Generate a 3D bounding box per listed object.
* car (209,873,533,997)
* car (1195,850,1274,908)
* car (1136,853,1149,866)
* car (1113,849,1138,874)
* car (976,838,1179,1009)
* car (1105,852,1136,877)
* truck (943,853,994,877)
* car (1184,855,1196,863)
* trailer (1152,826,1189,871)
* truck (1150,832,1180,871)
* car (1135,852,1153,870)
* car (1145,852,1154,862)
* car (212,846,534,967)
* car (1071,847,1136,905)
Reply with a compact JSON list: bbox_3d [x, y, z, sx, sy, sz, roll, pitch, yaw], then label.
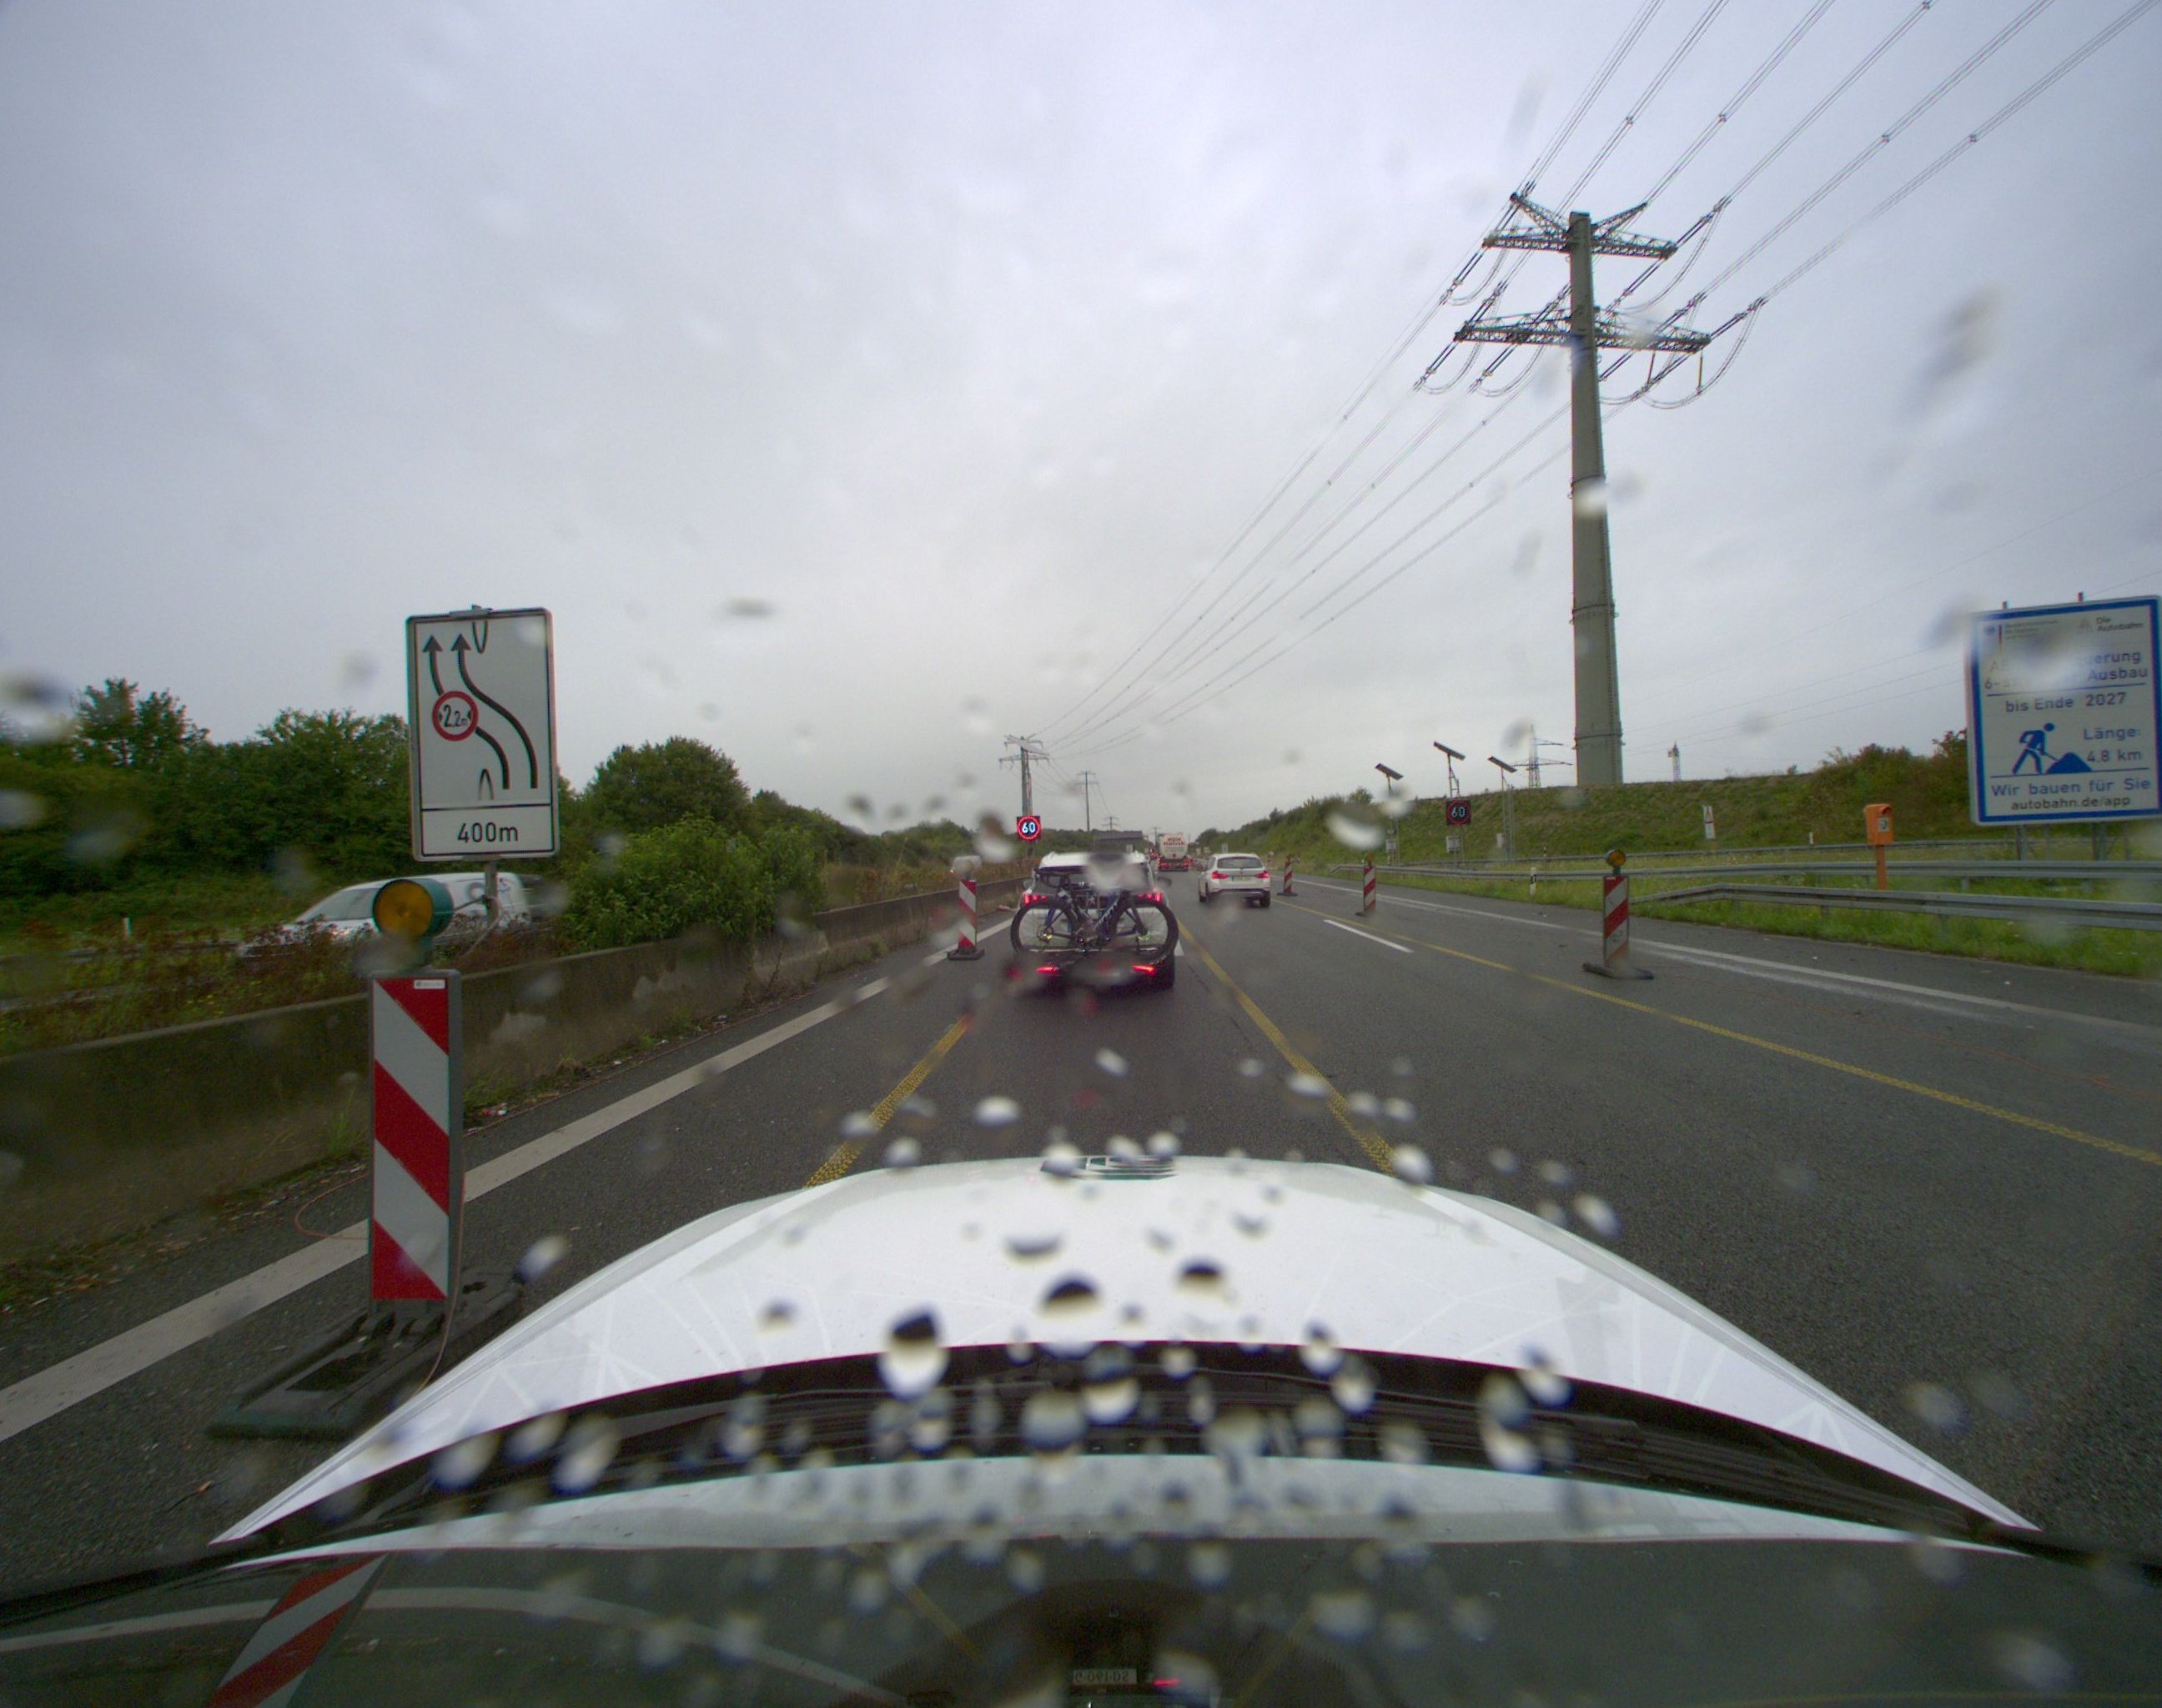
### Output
[{"bbox_3d":[-11.938,1.264,14.131,1.860,1.649,4.005,-3,0,4],"label":"car"},{"bbox_3d":[4.489,0.690,24.311,1.861,1.535,4.202,-1,0,5],"label":"car"},{"bbox_3d":[10.239,0.948,135.113,1.986,2.014,4.002,0,-1,2],"label":"car"},{"bbox_3d":[3.773,0.638,70.027,1.986,2.013,4.002,-3,0,2],"label":"car"},{"bbox_3d":[0.132,0.671,10.060,1.919,1.611,4.600,-1,0,4],"label":"car"},{"bbox_3d":[2.594,0.661,54.573,1.986,1.584,4.002,-1,0,2],"label":"car"},{"bbox_3d":[-12.974,1.285,94.525,1.974,2.428,6.475,-3,0,34],"label":"truck"},{"bbox_3d":[16.801,0.713,125.395,1.477,1.161,3.908,-3,0,2],"label":"car"},{"bbox_3d":[8.249,-0.407,75.971,2.628,3.893,10.547,0,-1,2],"label":"trailer"},{"bbox_3d":[8.470,-0.207,82.509,2.635,3.891,4.031,0,-1,2],"label":"truck"},{"bbox_3d":[7.473,0.858,97.290,1.986,2.014,4.002,0,-1,2],"label":"car"},{"bbox_3d":[13.953,0.605,166.428,1.645,2.013,4.007,-1,0,6],"label":"car"},{"bbox_3d":[-11.988,0.819,14.231,1.985,1.801,4.003,0,-1,3],"label":"car"},{"bbox_3d":[0.846,0.697,28.070,1.985,1.760,4.004,-3,0,3],"label":"car"}]
